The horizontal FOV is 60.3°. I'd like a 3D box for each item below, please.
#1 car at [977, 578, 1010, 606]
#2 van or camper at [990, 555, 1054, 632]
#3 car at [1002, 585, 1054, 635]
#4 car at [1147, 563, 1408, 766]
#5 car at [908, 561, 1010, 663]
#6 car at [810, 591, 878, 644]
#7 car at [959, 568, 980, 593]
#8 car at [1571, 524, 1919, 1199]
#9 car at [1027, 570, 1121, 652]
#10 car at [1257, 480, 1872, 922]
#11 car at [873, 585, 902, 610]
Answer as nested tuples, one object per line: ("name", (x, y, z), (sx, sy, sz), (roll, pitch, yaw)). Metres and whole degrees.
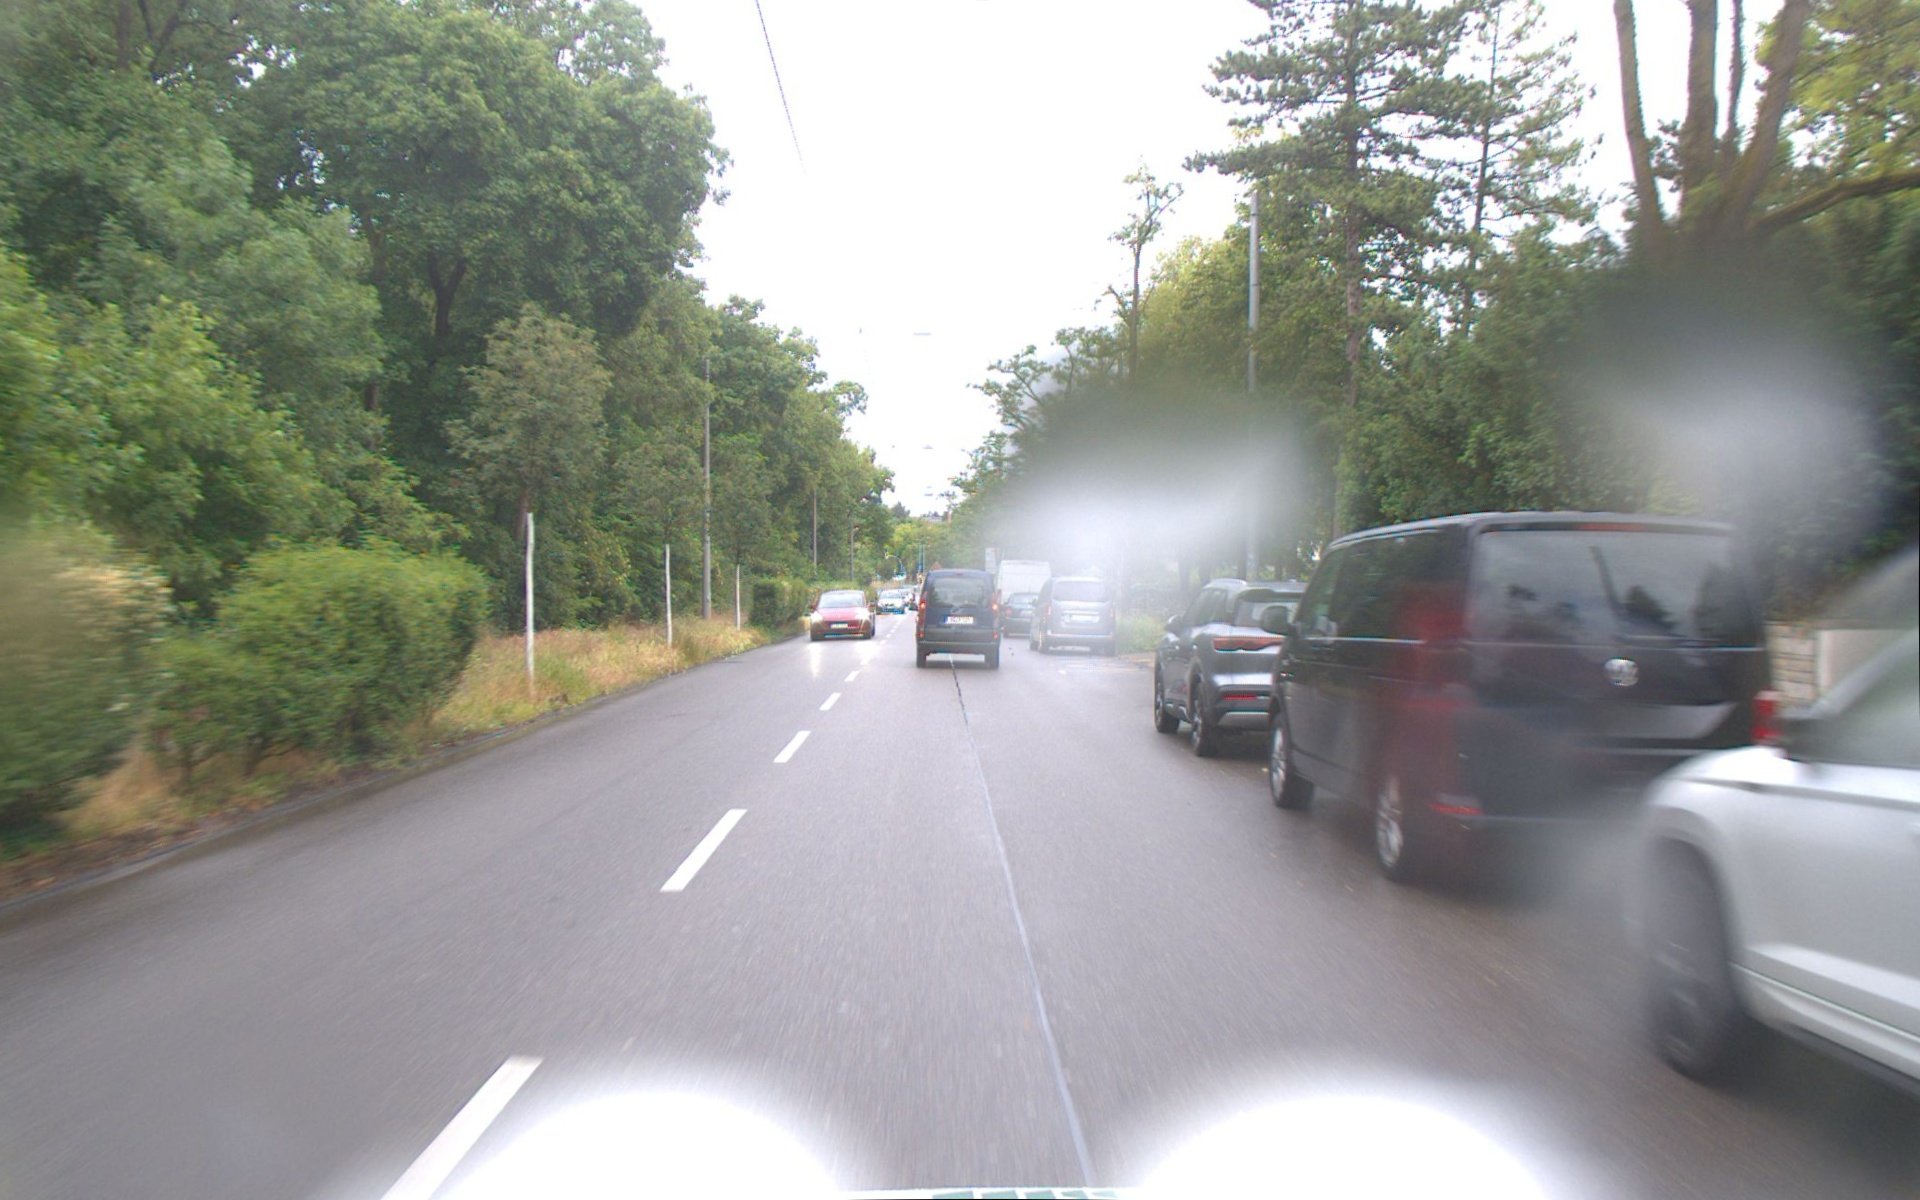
("car", (1.890, -0.470, 94.004), (1.686, 1.532, 4.050), (1, 1, -1))
("van or camper", (2.234, -0.282, 61.005), (2.036, 2.696, 5.345), (1, 1, -1))
("car", (2.182, 0.296, 53.193), (1.592, 1.489, 3.809), (1, 1, 2))
("car", (3.054, 0.526, 16.779), (1.737, 1.753, 4.326), (1, 1, -1))
("car", (-0.068, 0.187, 32.398), (1.732, 1.862, 3.540), (1, 1, -4))
("car", (-3.509, 0.493, 50.667), (1.822, 1.506, 4.156), (-1, 0, -1))
("car", (0.962, -2.025, 171.389), (2.160, 2.492, 4.728), (0, 0, -1))
("car", (3.211, 0.658, 3.988), (1.768, 1.641, 4.285), (1, 1, -2))
("car", (2.740, 0.223, 40.608), (1.778, 1.845, 4.281), (1, 1, -3))
("car", (3.301, 0.432, 10.276), (1.953, 2.048, 4.888), (1, 1, -1))
("car", (-4.492, -0.141, 102.844), (1.747, 1.505, 3.966), (-1, -1, -1))
